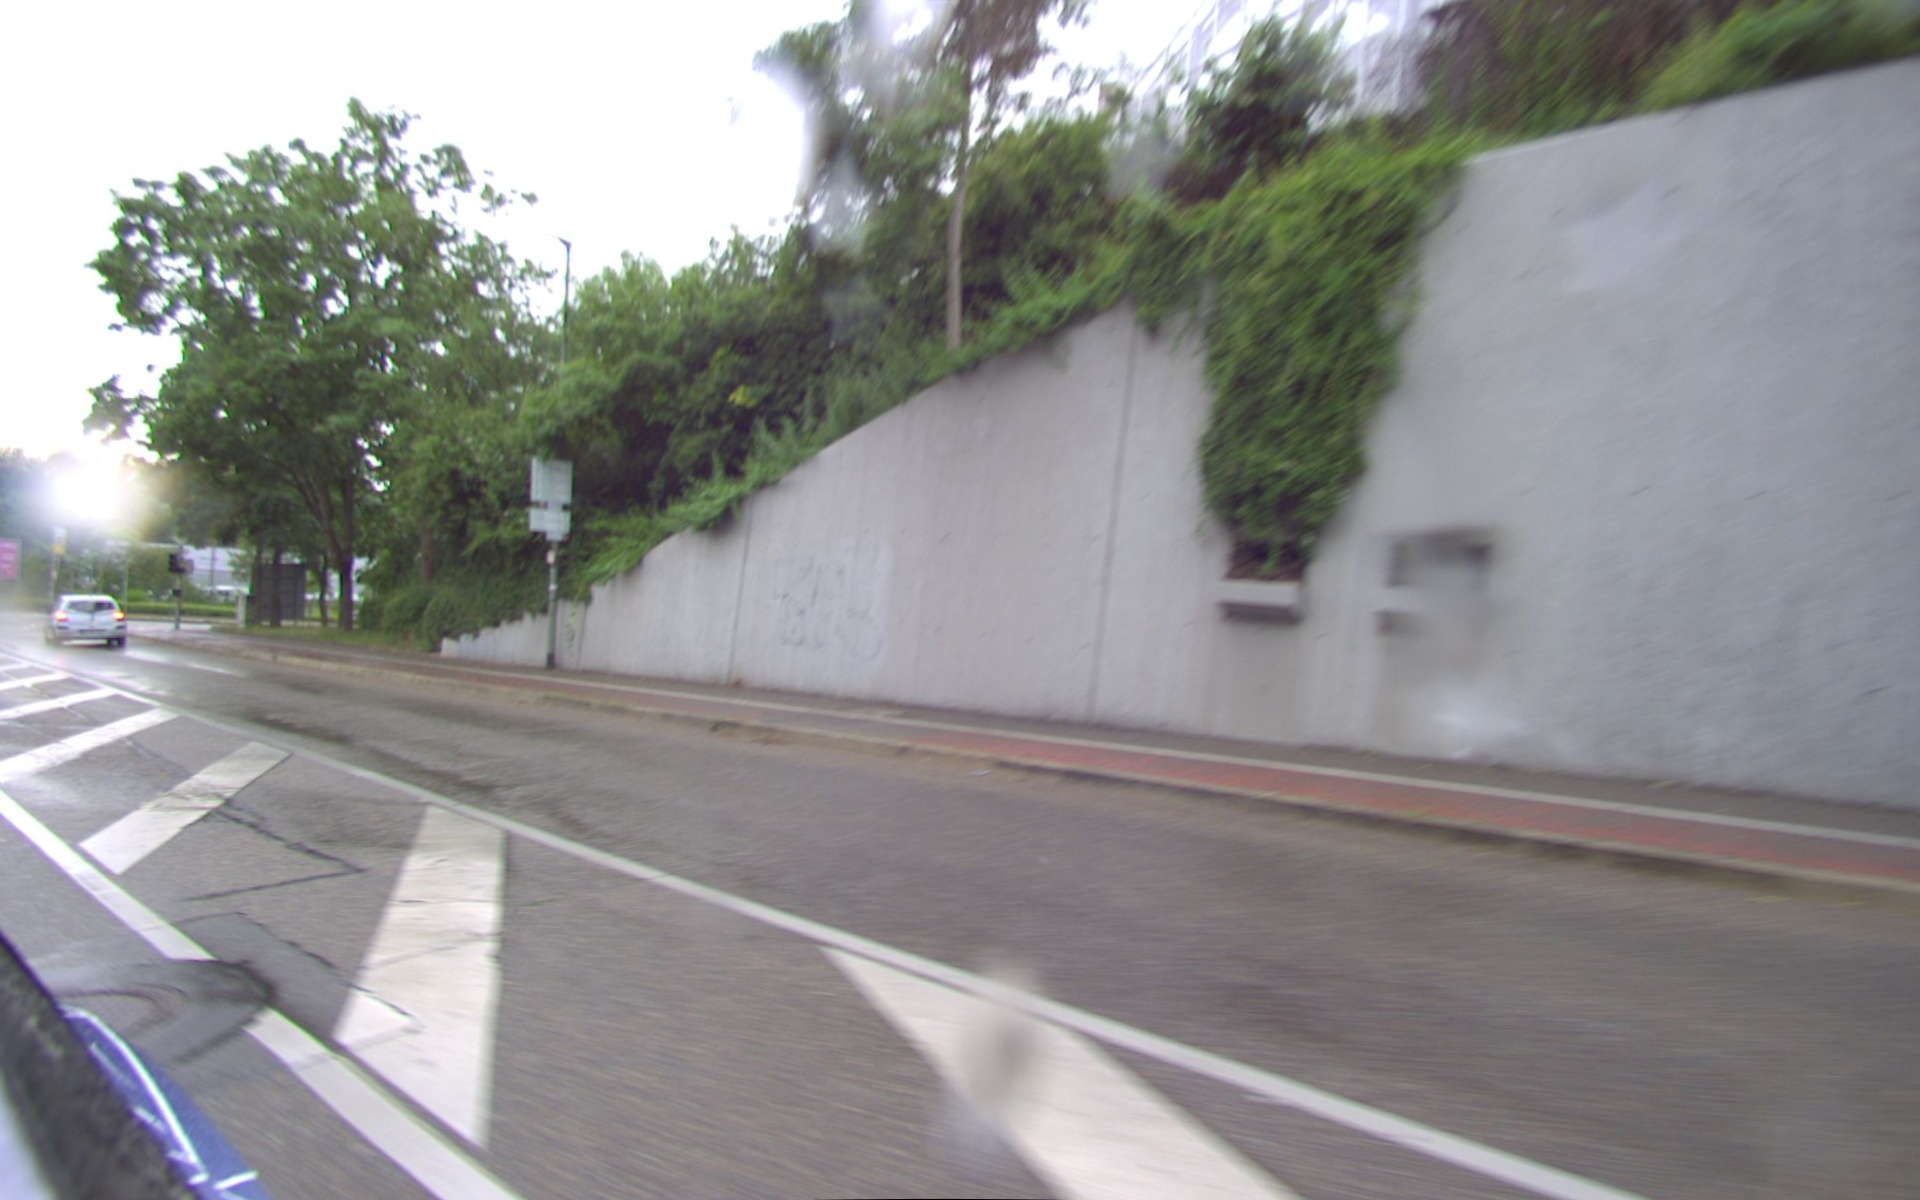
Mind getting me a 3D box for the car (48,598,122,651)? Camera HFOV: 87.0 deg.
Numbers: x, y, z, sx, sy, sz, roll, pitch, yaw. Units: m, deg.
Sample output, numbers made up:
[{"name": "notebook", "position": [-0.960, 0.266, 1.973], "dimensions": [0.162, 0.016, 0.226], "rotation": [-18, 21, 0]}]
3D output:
[{"name": "car", "position": [-26.031, 0.721, 30.079], "dimensions": [1.494, 1.459, 3.820], "rotation": [2, -2, -43]}]
